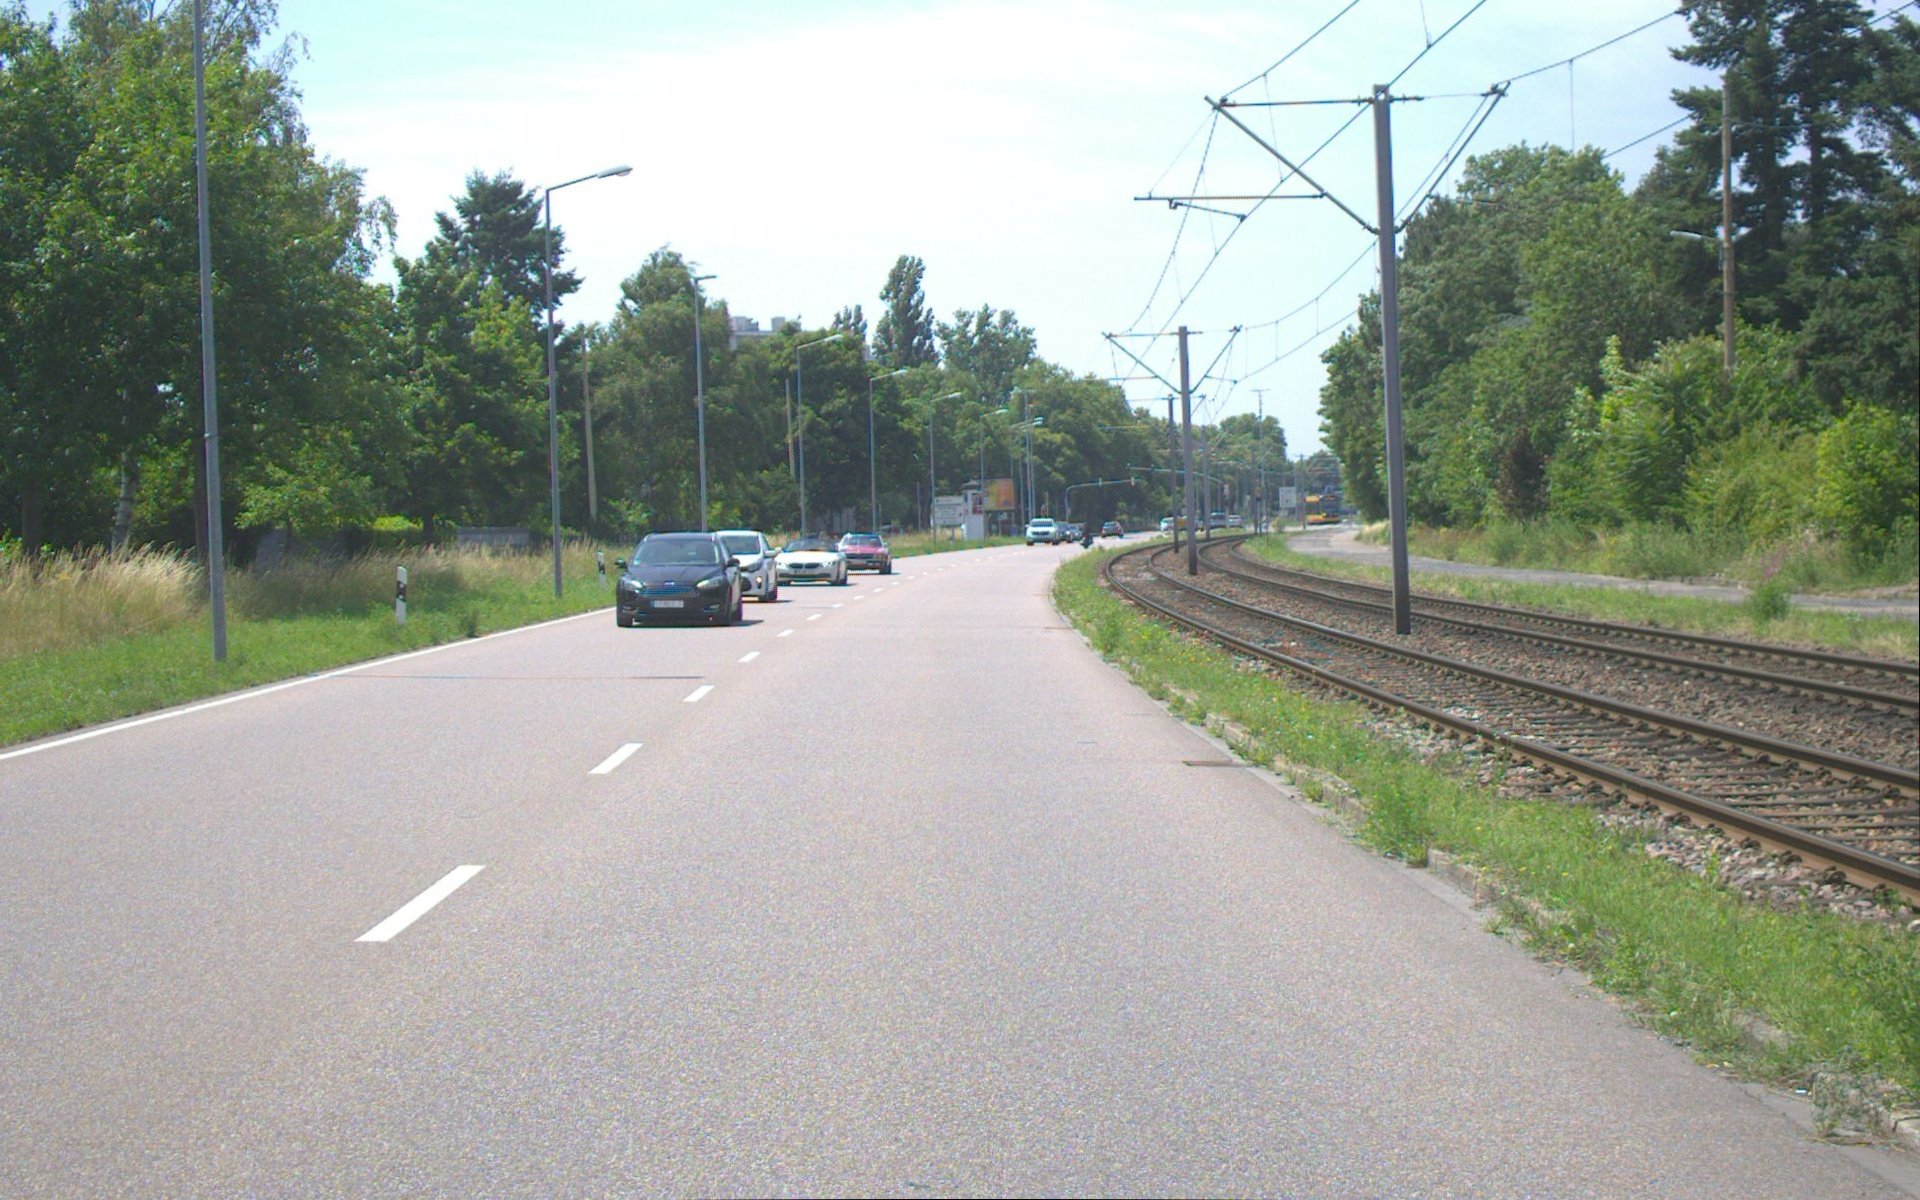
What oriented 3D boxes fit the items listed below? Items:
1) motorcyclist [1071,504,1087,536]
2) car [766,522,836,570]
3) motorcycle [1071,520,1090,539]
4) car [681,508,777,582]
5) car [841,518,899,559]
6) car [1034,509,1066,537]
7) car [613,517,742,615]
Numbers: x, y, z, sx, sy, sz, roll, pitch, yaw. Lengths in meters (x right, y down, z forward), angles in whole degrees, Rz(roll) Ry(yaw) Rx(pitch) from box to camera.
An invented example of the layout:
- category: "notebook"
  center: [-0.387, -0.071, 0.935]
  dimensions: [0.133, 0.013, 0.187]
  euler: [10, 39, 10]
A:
- category: "motorcyclist"
  center: [7.130, -4.785, 205.407]
  dimensions: [0.891, 1.898, 1.015]
  euler: [-1, 1, 4]
- category: "car"
  center: [-4.259, -1.456, 92.419]
  dimensions: [1.682, 1.245, 3.909]
  euler: [-1, 1, 0]
- category: "motorcycle"
  center: [7.200, -4.234, 205.324]
  dimensions: [0.970, 1.113, 2.732]
  euler: [-1, 1, 4]
- category: "car"
  center: [-4.824, -1.161, 72.169]
  dimensions: [1.747, 1.498, 3.707]
  euler: [-1, 1, 0]
- category: "car"
  center: [-2.891, -1.998, 111.129]
  dimensions: [1.749, 1.296, 4.253]
  euler: [-1, 1, 0]
- category: "car"
  center: [5.886, -5.058, 224.811]
  dimensions: [1.936, 1.790, 4.711]
  euler: [-1, 1, 3]
- category: "car"
  center: [-4.488, -0.563, 55.111]
  dimensions: [1.700, 1.486, 4.440]
  euler: [-1, 1, 0]
